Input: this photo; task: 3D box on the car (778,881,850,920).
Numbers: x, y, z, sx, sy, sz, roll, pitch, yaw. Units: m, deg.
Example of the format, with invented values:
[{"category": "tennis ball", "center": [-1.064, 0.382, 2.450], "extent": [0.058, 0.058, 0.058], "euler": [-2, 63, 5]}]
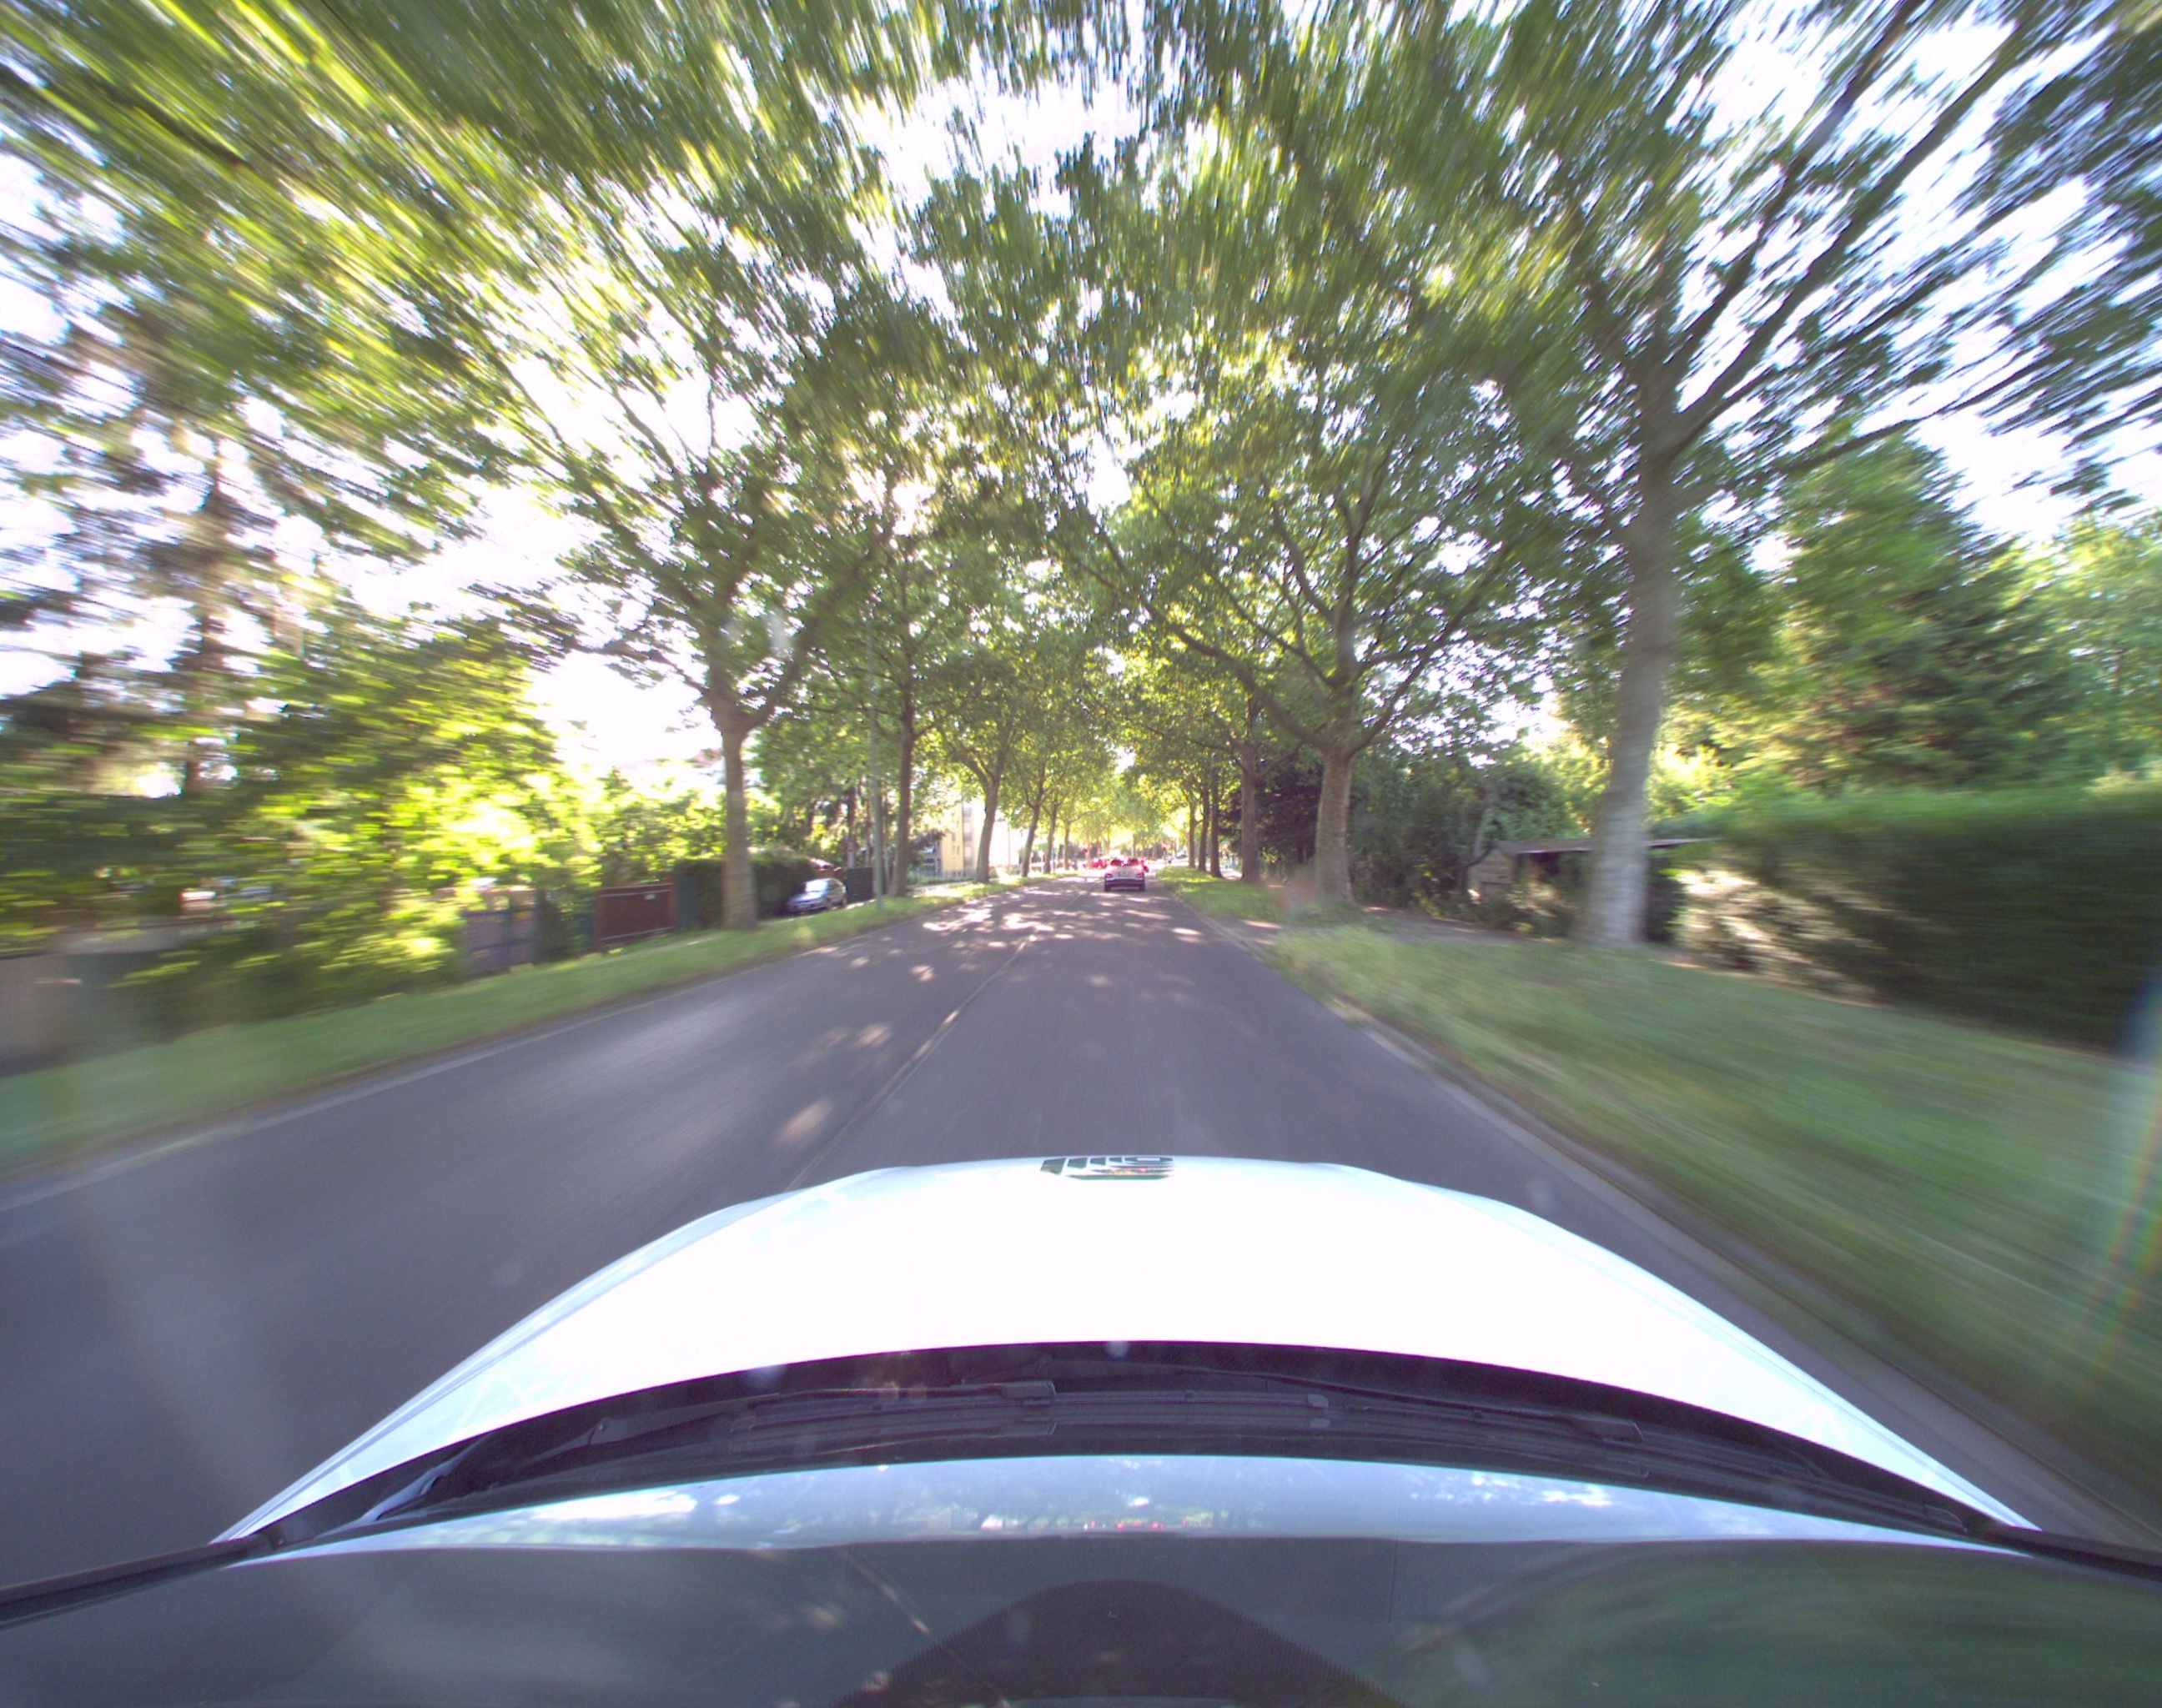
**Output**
[{"category": "car", "center": [-11.377, 1.955, 35.011], "extent": [1.746, 1.304, 3.999], "euler": [-2, 1, 0]}]

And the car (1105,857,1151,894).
[{"category": "car", "center": [2.189, 0.972, 37.425], "extent": [1.985, 1.574, 4.004], "euler": [-1, -1, 4]}]

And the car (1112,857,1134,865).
[{"category": "car", "center": [7.842, 1.343, 150.941], "extent": [3.967, 1.478, 2.003], "euler": [-1, -1, 6]}]

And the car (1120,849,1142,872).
[{"category": "car", "center": [4.755, 0.629, 77.066], "extent": [1.985, 2.014, 4.004], "euler": [-1, -1, 4]}]

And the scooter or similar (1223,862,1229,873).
[{"category": "scooter or similar", "center": [17.066, 1.582, 95.783], "extent": [0.546, 1.258, 2.317], "euler": [-1, -1, 7]}]

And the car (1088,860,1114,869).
[{"category": "car", "center": [3.318, 1.717, 131.835], "extent": [3.964, 1.478, 2.005], "euler": [-1, -1, 8]}]

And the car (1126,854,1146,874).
[{"category": "car", "center": [5.800, 1.064, 85.547], "extent": [1.985, 2.014, 4.004], "euler": [-1, -1, 4]}]

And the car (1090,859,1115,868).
[{"category": "car", "center": [3.624, 1.656, 136.469], "extent": [3.967, 1.478, 2.003], "euler": [-1, -1, 6]}]

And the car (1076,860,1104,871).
[{"category": "car", "center": [1.366, 1.720, 122.007], "extent": [3.967, 1.478, 2.003], "euler": [-1, -1, 6]}]

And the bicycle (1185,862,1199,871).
[{"category": "bicycle", "center": [15.498, 1.774, 113.992], "extent": [0.608, 1.164, 2.125], "euler": [0, -1, -38]}]

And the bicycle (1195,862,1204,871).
[{"category": "bicycle", "center": [16.724, 1.744, 114.847], "extent": [0.604, 1.183, 2.108], "euler": [0, -1, -14]}]
